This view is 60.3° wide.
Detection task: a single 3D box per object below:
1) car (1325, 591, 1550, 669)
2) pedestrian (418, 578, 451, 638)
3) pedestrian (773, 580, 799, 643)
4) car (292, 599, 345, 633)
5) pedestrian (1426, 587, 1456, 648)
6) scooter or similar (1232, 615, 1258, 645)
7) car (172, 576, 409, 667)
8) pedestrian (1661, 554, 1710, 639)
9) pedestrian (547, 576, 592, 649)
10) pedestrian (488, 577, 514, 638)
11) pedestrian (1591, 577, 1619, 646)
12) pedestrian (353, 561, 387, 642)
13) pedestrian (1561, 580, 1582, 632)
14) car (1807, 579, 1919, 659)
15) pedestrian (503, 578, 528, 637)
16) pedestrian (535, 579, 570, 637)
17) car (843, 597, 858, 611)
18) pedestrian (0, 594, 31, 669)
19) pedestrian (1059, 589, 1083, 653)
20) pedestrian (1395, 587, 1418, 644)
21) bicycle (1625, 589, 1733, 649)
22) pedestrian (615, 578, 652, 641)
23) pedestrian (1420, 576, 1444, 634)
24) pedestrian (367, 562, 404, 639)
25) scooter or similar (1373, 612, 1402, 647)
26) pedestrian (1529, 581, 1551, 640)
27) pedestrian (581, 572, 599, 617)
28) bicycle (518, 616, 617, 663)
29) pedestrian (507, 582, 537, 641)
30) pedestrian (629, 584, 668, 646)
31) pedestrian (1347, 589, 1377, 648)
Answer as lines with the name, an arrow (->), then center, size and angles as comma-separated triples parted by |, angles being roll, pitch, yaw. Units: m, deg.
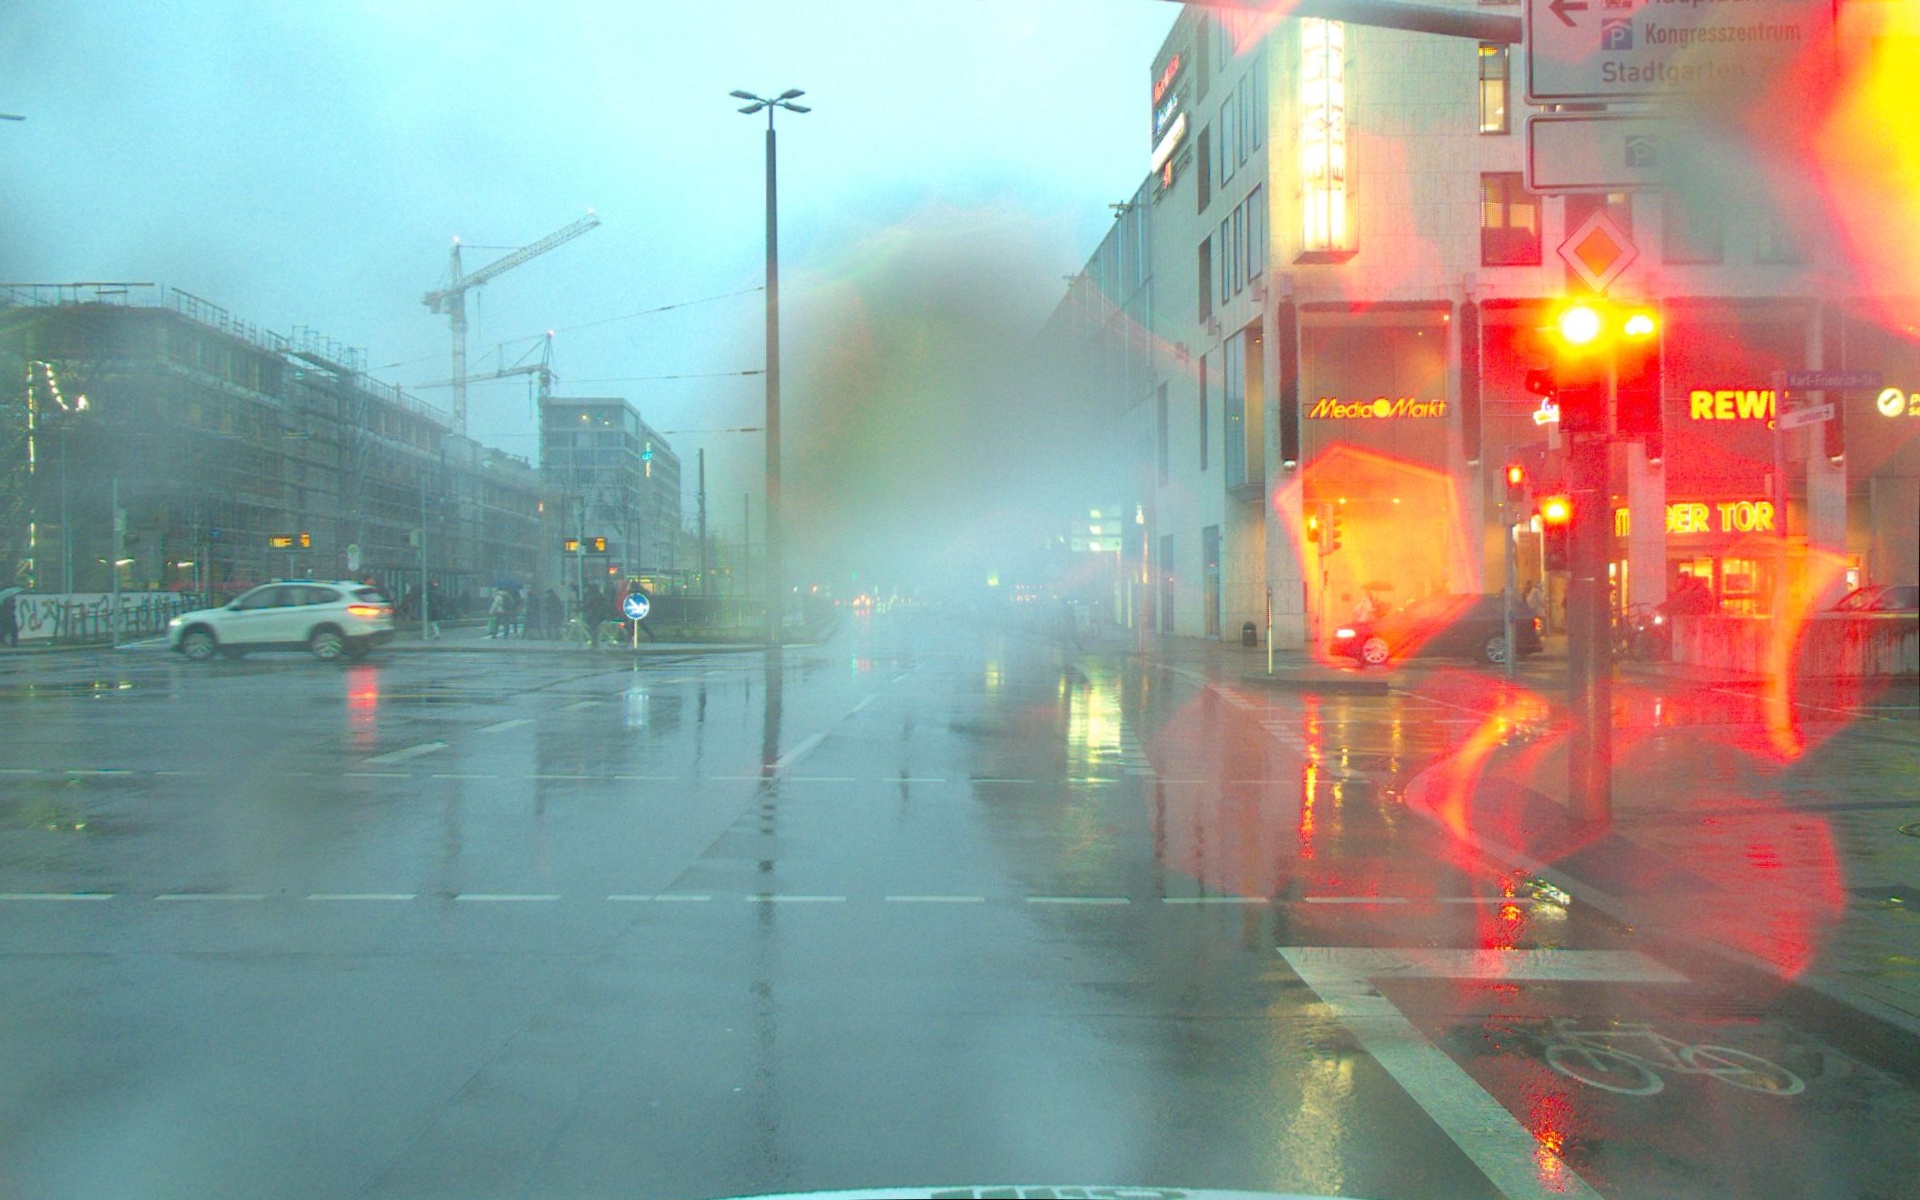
car -> 10.167, 0.632, 35.492 | 4.439, 1.601, 1.798 | -1, 0, 9
pedestrian -> -14.593, 0.209, 45.941 | 0.692, 1.647, 0.680 | -1, 0, 0
pedestrian -> -5.008, 0.334, 47.600 | 0.688, 1.791, 0.652 | -1, 0, -1
car -> -39.815, 0.989, 102.743 | 1.954, 2.049, 3.996 | -1, 0, -5
pedestrian -> 14.260, 0.517, 49.034 | 0.688, 1.791, 0.667 | -1, 0, -1
scooter or similar -> 8.863, 0.935, 51.399 | 0.726, 0.932, 0.400 | -1, 0, 0
car -> -13.896, 0.430, 34.495 | 4.215, 1.792, 1.706 | -1, 0, -2
pedestrian -> 13.951, -0.064, 31.822 | 0.764, 1.623, 0.613 | -1, 0, 14
pedestrian -> -8.952, 0.293, 37.913 | 0.798, 1.598, 0.536 | 2, -6, 1
pedestrian -> -13.492, 0.227, 48.644 | 0.606, 1.776, 0.613 | -1, 0, -3
pedestrian -> 16.255, 0.280, 41.667 | 0.526, 1.715, 0.547 | -1, 0, 37
pedestrian -> -15.525, 0.036, 43.518 | 0.682, 2.124, 0.604 | 0, 0, -41
pedestrian -> 20.644, 0.198, 55.843 | 0.526, 1.748, 0.500 | -1, 0, 37
car -> 19.854, 0.374, 34.517 | 3.498, 1.610, 1.675 | -1, -1, -3
pedestrian -> -13.508, 0.235, 50.258 | 0.607, 1.776, 0.612 | -1, 0, -6
pedestrian -> -11.654, 0.225, 47.336 | 0.793, 1.635, 0.745 | -1, 0, -1
car -> -14.735, 0.595, 223.317 | 1.850, 1.814, 3.713 | 1, -1, -1
pedestrian -> -26.454, 0.869, 46.088 | 0.778, 2.049, 0.745 | -1, 0, -11
pedestrian -> 3.150, 0.583, 47.121 | 0.620, 1.803, 0.483 | -1, 0, -2
pedestrian -> 13.616, 0.472, 50.449 | 0.526, 1.748, 0.500 | -1, 0, 37
bicycle -> 13.835, 0.363, 31.862 | 1.806, 1.112, 0.618 | -1, 0, 14
pedestrian -> -9.069, 0.265, 45.942 | 0.814, 1.709, 0.619 | -1, 0, 21
pedestrian -> 14.332, 0.163, 50.241 | 0.526, 1.748, 0.500 | -1, 0, 37
pedestrian -> -15.448, 0.018, 44.486 | 0.770, 2.049, 0.604 | 0, 0, -39
scooter or similar -> 12.391, 0.856, 47.975 | 0.726, 1.011, 0.400 | -1, 0, -1
pedestrian -> 17.496, 0.316, 49.886 | 0.501, 1.791, 0.374 | -1, 0, -1
pedestrian -> -14.548, -0.216, 65.121 | 0.648, 1.776, 0.734 | -1, 0, -11
bicycle -> -8.969, 0.906, 37.833 | 2.084, 1.009, 0.541 | 2, -3, 0
pedestrian -> -12.444, 0.322, 46.996 | 0.692, 1.647, 0.612 | -1, 0, -3
pedestrian -> -8.786, 0.419, 46.649 | 0.825, 1.718, 0.677 | -1, 0, 18
pedestrian -> 11.657, 0.522, 47.963 | 0.726, 1.696, 0.400 | -1, 0, -1
